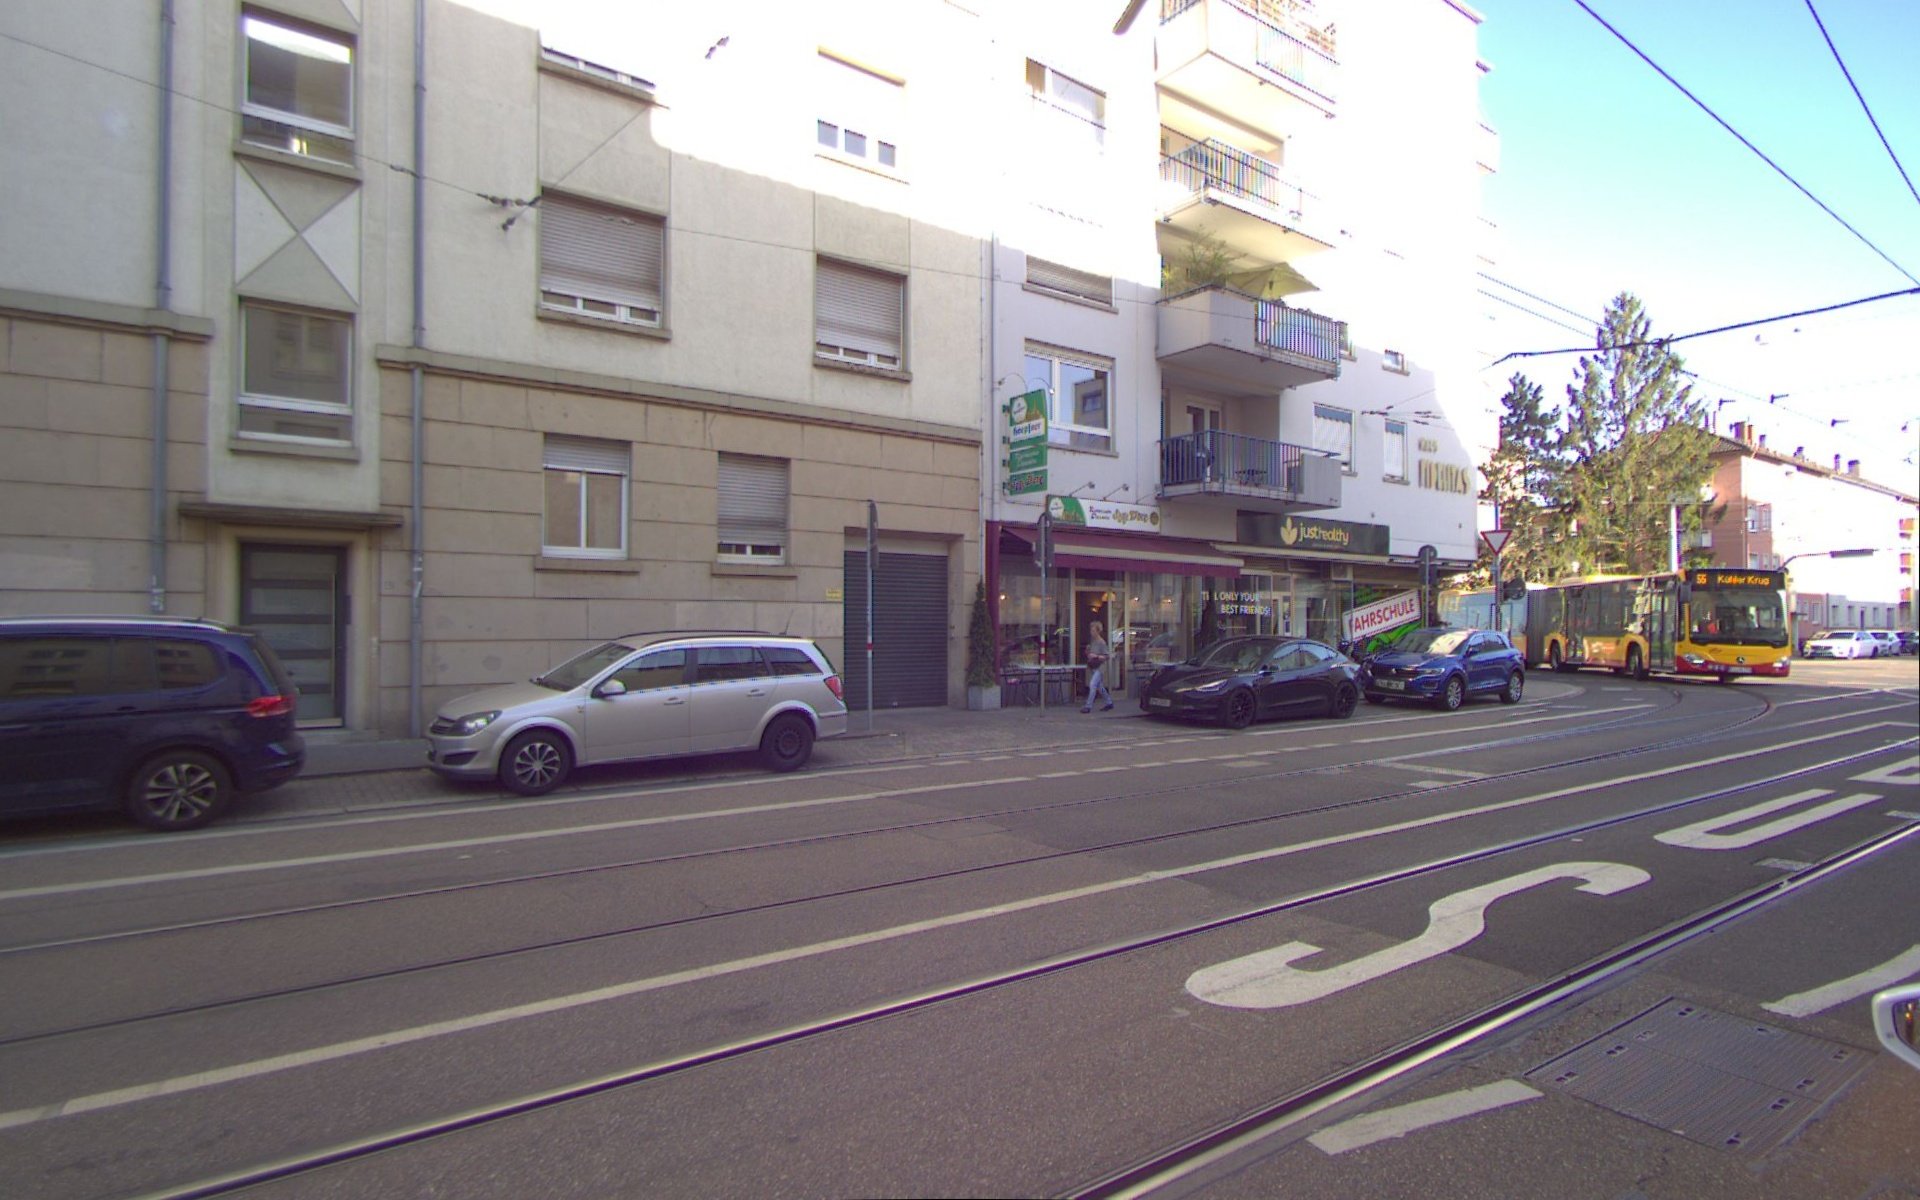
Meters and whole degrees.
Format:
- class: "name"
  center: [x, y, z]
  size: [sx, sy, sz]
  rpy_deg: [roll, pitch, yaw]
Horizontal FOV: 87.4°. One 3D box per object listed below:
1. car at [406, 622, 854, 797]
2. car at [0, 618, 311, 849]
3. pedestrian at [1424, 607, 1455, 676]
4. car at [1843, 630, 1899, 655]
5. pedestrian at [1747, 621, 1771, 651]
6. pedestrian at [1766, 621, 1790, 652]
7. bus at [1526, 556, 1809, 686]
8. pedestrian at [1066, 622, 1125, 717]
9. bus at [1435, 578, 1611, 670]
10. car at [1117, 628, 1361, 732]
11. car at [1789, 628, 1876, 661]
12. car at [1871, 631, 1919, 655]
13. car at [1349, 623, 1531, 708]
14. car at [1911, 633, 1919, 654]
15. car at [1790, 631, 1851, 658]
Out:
- class: "car"
  center: [-3.476, 1.052, 10.986]
  size: [4.344, 1.529, 1.687]
  rpy_deg: [2, -1, -36]
- class: "car"
  center: [-7.627, 0.976, 7.799]
  size: [4.206, 1.637, 1.686]
  rpy_deg: [2, -1, -38]
- class: "pedestrian"
  center: [14.435, 1.253, 30.228]
  size: [0.482, 2.040, 0.681]
  rpy_deg: [1, -1, -38]
- class: "car"
  center: [57.163, 2.647, 63.001]
  size: [3.962, 1.517, 1.897]
  rpy_deg: [1, -2, -37]
- class: "pedestrian"
  center: [45.832, 2.062, 57.629]
  size: [0.728, 1.713, 0.840]
  rpy_deg: [1, -1, -30]
- class: "pedestrian"
  center: [46.378, 2.058, 56.941]
  size: [0.728, 1.713, 0.840]
  rpy_deg: [1, -1, -30]
- class: "bus"
  center: [20.392, 0.676, 29.996]
  size: [2.675, 3.200, 10.203]
  rpy_deg: [0, -2, 9]
- class: "pedestrian"
  center: [2.317, 1.167, 17.222]
  size: [0.713, 1.569, 0.694]
  rpy_deg: [0, -1, -32]
- class: "bus"
  center: [21.525, 0.939, 38.992]
  size: [2.692, 3.203, 7.580]
  rpy_deg: [0, -2, 1]
- class: "car"
  center: [4.822, 1.281, 17.117]
  size: [4.269, 1.529, 1.688]
  rpy_deg: [2, -1, -36]
- class: "car"
  center: [44.147, 2.221, 50.816]
  size: [4.345, 1.595, 1.843]
  rpy_deg: [1, -1, -28]
- class: "car"
  center: [62.550, 2.852, 67.045]
  size: [3.962, 1.517, 1.897]
  rpy_deg: [1, -2, -37]
- class: "car"
  center: [9.812, 1.284, 20.431]
  size: [3.964, 1.529, 1.731]
  rpy_deg: [2, -1, -37]
- class: "car"
  center: [71.843, 3.196, 74.040]
  size: [3.962, 1.517, 1.897]
  rpy_deg: [1, -2, -37]
- class: "car"
  center: [48.843, 2.485, 56.990]
  size: [3.965, 1.452, 1.896]
  rpy_deg: [1, -2, -38]
